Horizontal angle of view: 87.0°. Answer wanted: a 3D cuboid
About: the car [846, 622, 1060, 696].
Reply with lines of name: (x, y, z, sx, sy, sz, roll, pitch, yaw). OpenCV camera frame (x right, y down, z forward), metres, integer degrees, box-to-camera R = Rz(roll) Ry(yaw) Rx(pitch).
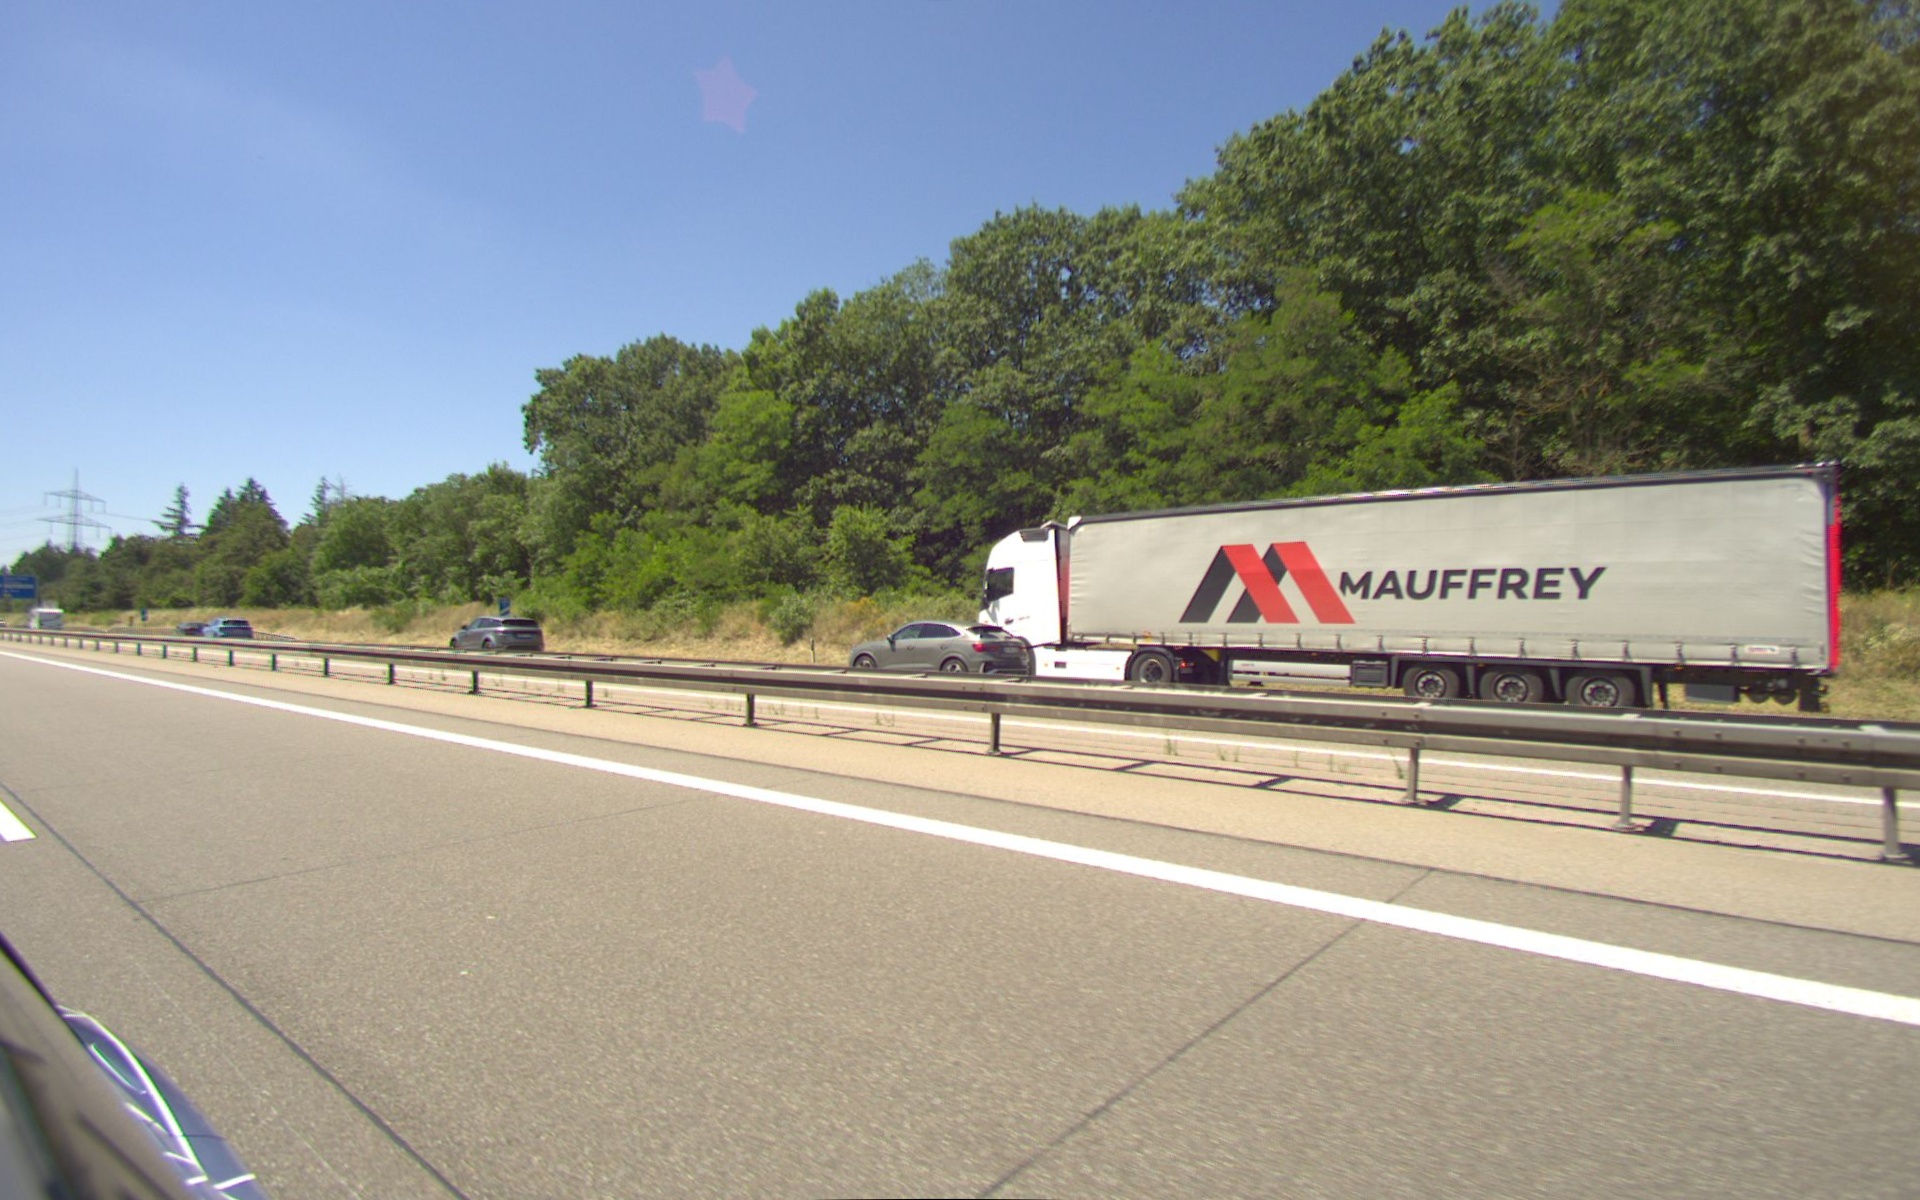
car: (-0.233, 1.249, 22.129, 4.580, 1.445, 1.869, -1, -4, 41)

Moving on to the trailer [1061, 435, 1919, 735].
trailer: (8.772, -0.042, 19.660, 14.538, 4.151, 2.783, -1, -4, 41)

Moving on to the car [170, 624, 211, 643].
car: (-61.258, 2.673, 80.531, 3.868, 1.427, 1.753, -1, -4, 40)

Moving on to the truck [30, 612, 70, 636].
truck: (-108.816, 2.856, 120.940, 6.362, 2.693, 2.623, -1, -4, 40)

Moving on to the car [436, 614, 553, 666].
car: (-16.534, 1.409, 35.861, 4.718, 1.693, 1.870, -1, -4, 40)

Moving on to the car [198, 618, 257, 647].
car: (-41.307, 1.816, 57.078, 3.906, 1.534, 1.753, -1, -4, 40)

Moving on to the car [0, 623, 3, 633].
car: (-130.030, 3.710, 135.770, 3.868, 1.427, 1.990, -1, -4, 40)

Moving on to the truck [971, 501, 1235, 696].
truck: (3.348, 0.078, 24.340, 5.672, 4.151, 2.783, -1, -4, 41)
